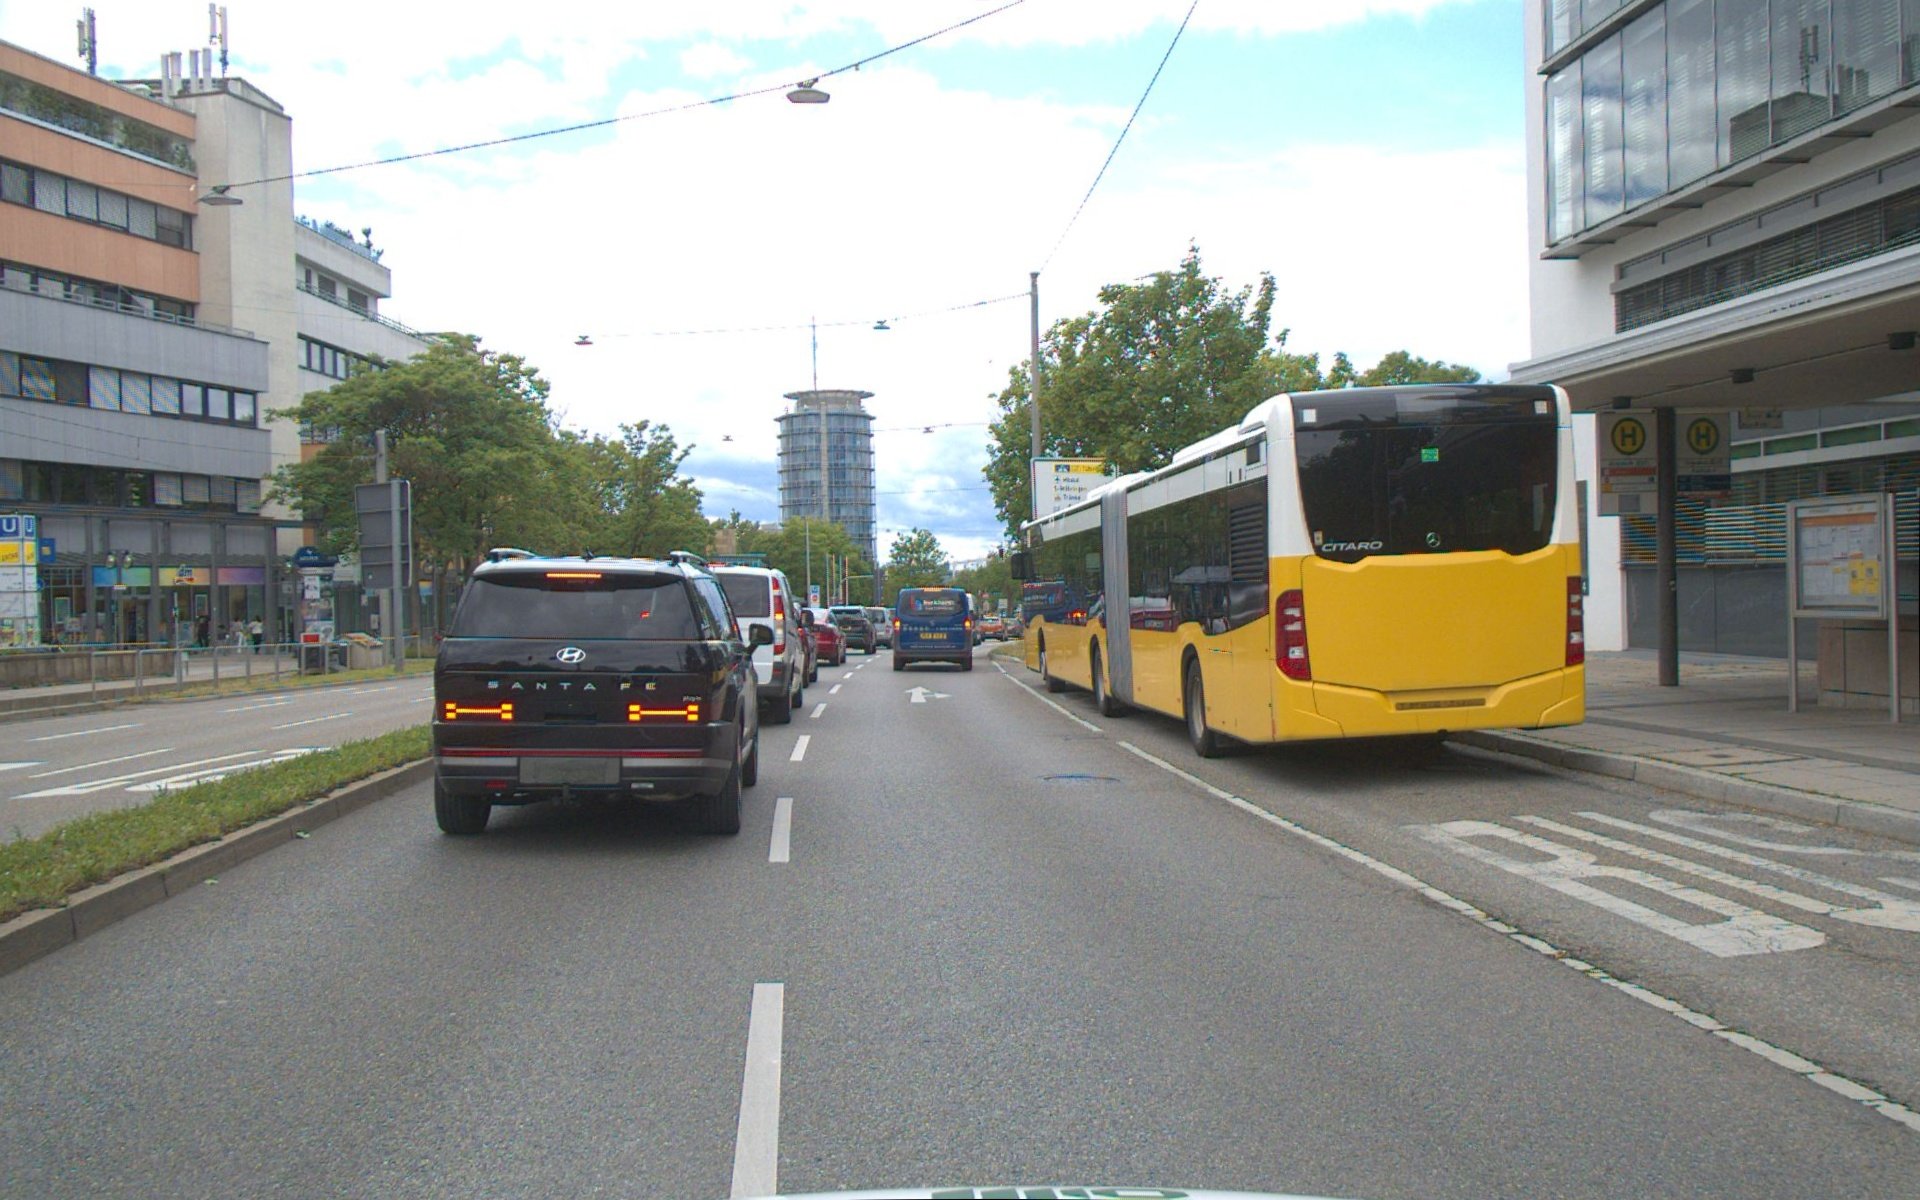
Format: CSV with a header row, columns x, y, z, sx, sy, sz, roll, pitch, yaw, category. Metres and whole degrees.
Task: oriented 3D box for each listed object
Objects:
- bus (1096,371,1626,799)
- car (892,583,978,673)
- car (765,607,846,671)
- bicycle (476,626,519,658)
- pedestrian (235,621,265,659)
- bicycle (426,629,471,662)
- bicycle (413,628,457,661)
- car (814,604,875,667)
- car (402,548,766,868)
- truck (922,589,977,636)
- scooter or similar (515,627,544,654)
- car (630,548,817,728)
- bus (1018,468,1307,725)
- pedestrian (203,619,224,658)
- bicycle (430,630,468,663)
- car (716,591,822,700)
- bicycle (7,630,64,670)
x,y,z,sx,sy,sz,roll,pitch,yaw,category
3.429,-0.126,16.985,2.659,3.163,8.862,-2,0,-4,bus
-0.628,0.676,39.629,1.908,2.000,4.539,-1,-1,-2,car
-3.934,1.023,42.645,1.831,1.512,3.998,-2,-2,-2,car
-19.119,1.736,68.410,0.615,1.275,1.675,-2,-1,39,bicycle
-29.753,1.677,69.346,0.893,1.554,0.838,-2,0,-44,pedestrian
-20.586,1.811,66.601,0.615,1.275,1.675,-2,-1,40,bicycle
-21.494,1.809,67.718,0.615,1.275,1.675,-2,-1,39,bicycle
-3.939,1.184,56.995,1.953,2.049,3.999,0,0,-2,car
-2.375,0.604,11.628,1.885,1.782,4.673,1,0,-6,car
-0.461,0.636,80.896,1.951,2.204,5.563,0,-1,7,truck
-20.590,1.950,79.073,1.294,1.292,0.339,0,-1,-1,scooter or similar
-2.987,0.497,21.899,1.836,2.049,5.073,-2,-1,-2,car
2.781,-0.043,25.862,2.659,3.219,9.119,-2,0,-4,bus
-30.596,1.572,67.783,0.588,1.554,0.549,-2,0,-44,pedestrian
-20.875,1.898,67.570,0.424,1.275,1.462,-2,-1,42,bicycle
-3.482,0.847,30.511,1.713,1.753,3.995,-4,-1,-6,car
-32.721,1.764,58.548,1.927,1.342,0.705,-2,-1,23,bicycle
